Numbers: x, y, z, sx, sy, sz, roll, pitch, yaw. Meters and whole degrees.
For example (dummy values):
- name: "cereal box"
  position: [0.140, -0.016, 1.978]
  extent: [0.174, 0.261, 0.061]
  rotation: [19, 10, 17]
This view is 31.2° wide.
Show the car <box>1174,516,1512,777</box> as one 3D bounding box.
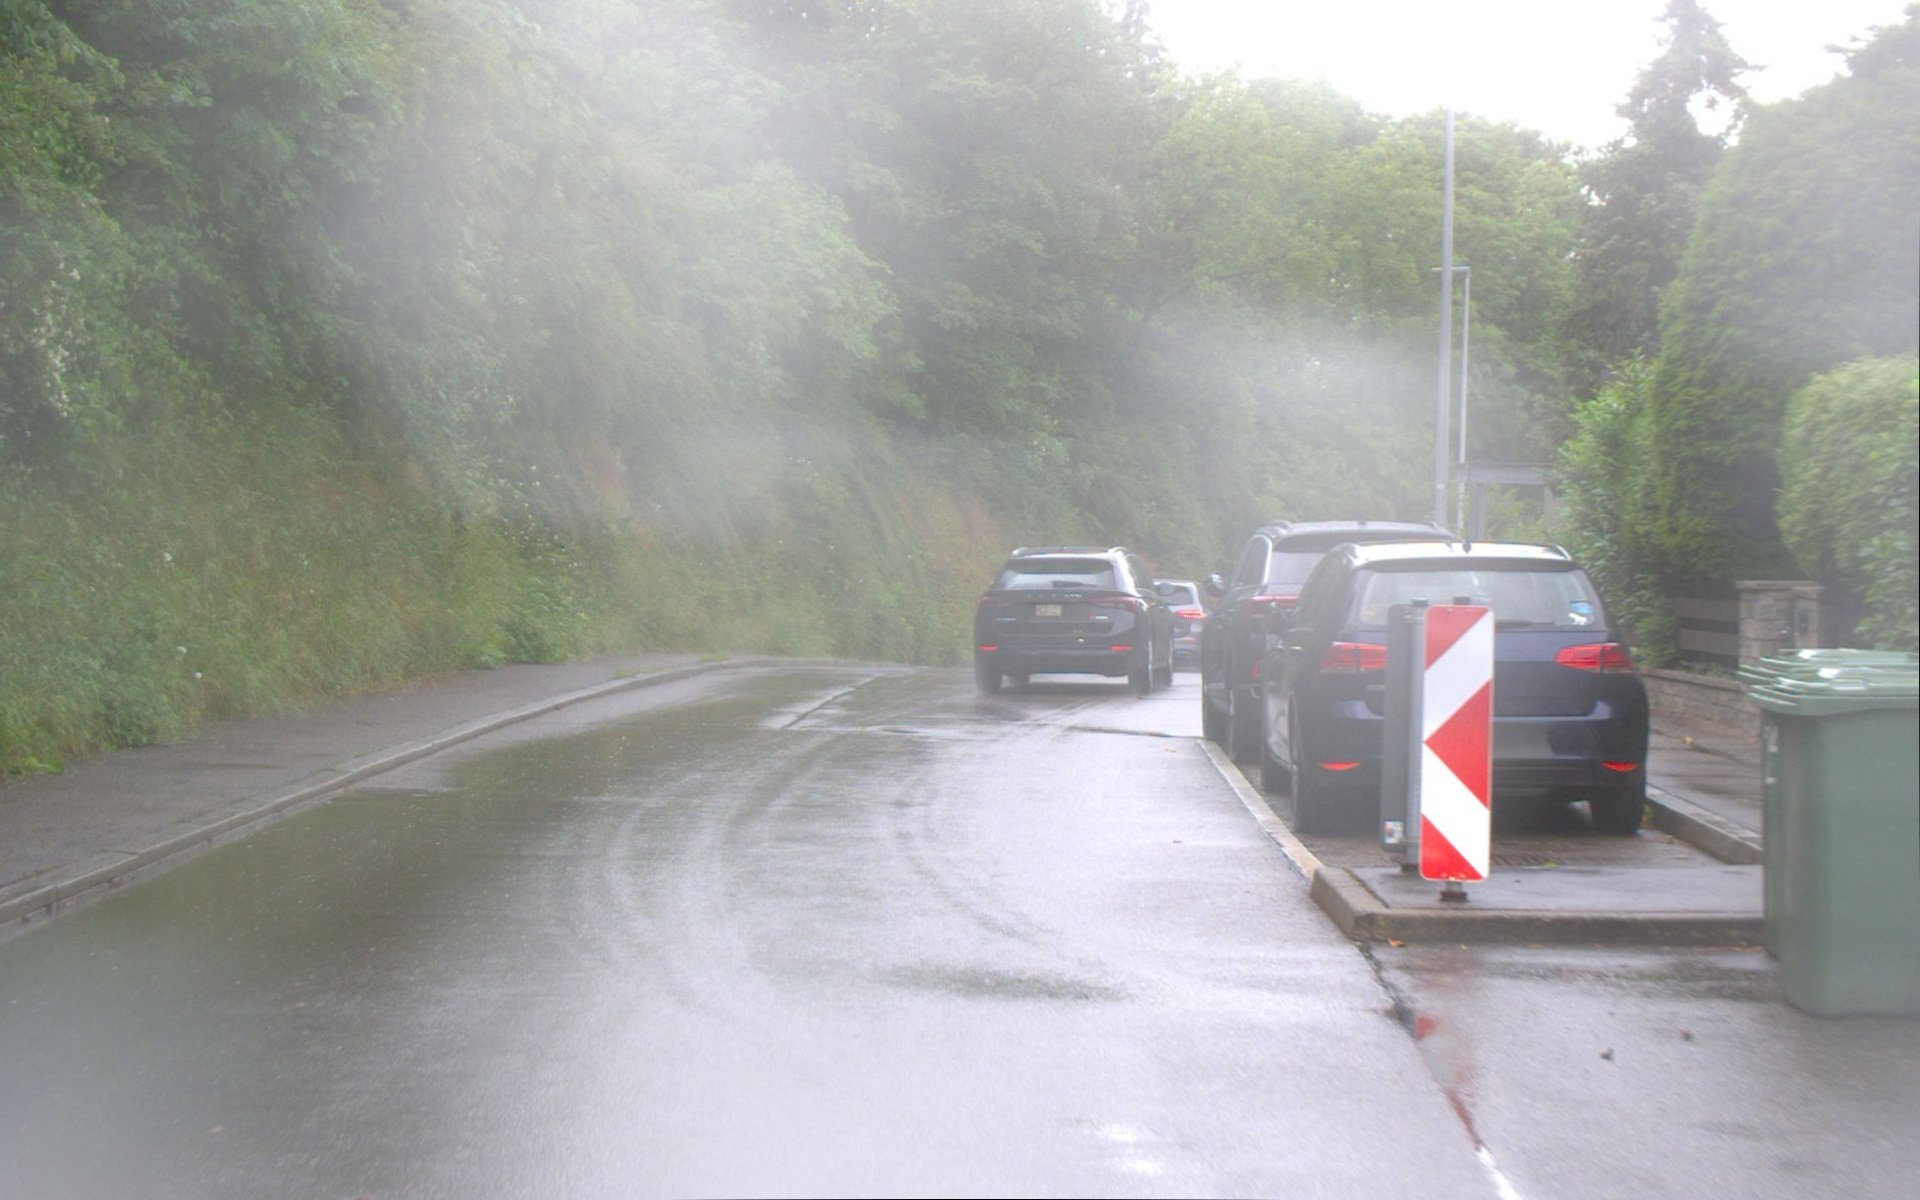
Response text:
- name: "car"
  position: [2.520, 0.234, 23.628]
  extent: [1.875, 1.586, 4.480]
  rotation: [1, 2, 1]

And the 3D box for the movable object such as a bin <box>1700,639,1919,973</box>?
- name: "movable object such as a bin"
  position: [2.998, 0.695, 11.820]
  extent: [0.729, 1.075, 0.661]
  rotation: [1, 2, 0]

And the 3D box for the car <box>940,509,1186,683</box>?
- name: "car"
  position: [1.115, 0.002, 34.936]
  extent: [1.869, 1.507, 4.090]
  rotation: [3, -2, 10]

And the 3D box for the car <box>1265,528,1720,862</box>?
- name: "car"
  position: [2.642, 0.393, 17.985]
  extent: [1.756, 1.457, 4.301]
  rotation: [1, 2, 1]

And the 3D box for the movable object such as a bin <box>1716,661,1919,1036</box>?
- name: "movable object such as a bin"
  position: [2.807, 0.759, 10.679]
  extent: [0.715, 1.092, 0.656]
  rotation: [1, 2, -3]

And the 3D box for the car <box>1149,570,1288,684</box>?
- name: "car"
  position: [4.174, 0.394, 54.935]
  extent: [1.994, 1.600, 4.408]
  rotation: [2, 2, 7]
